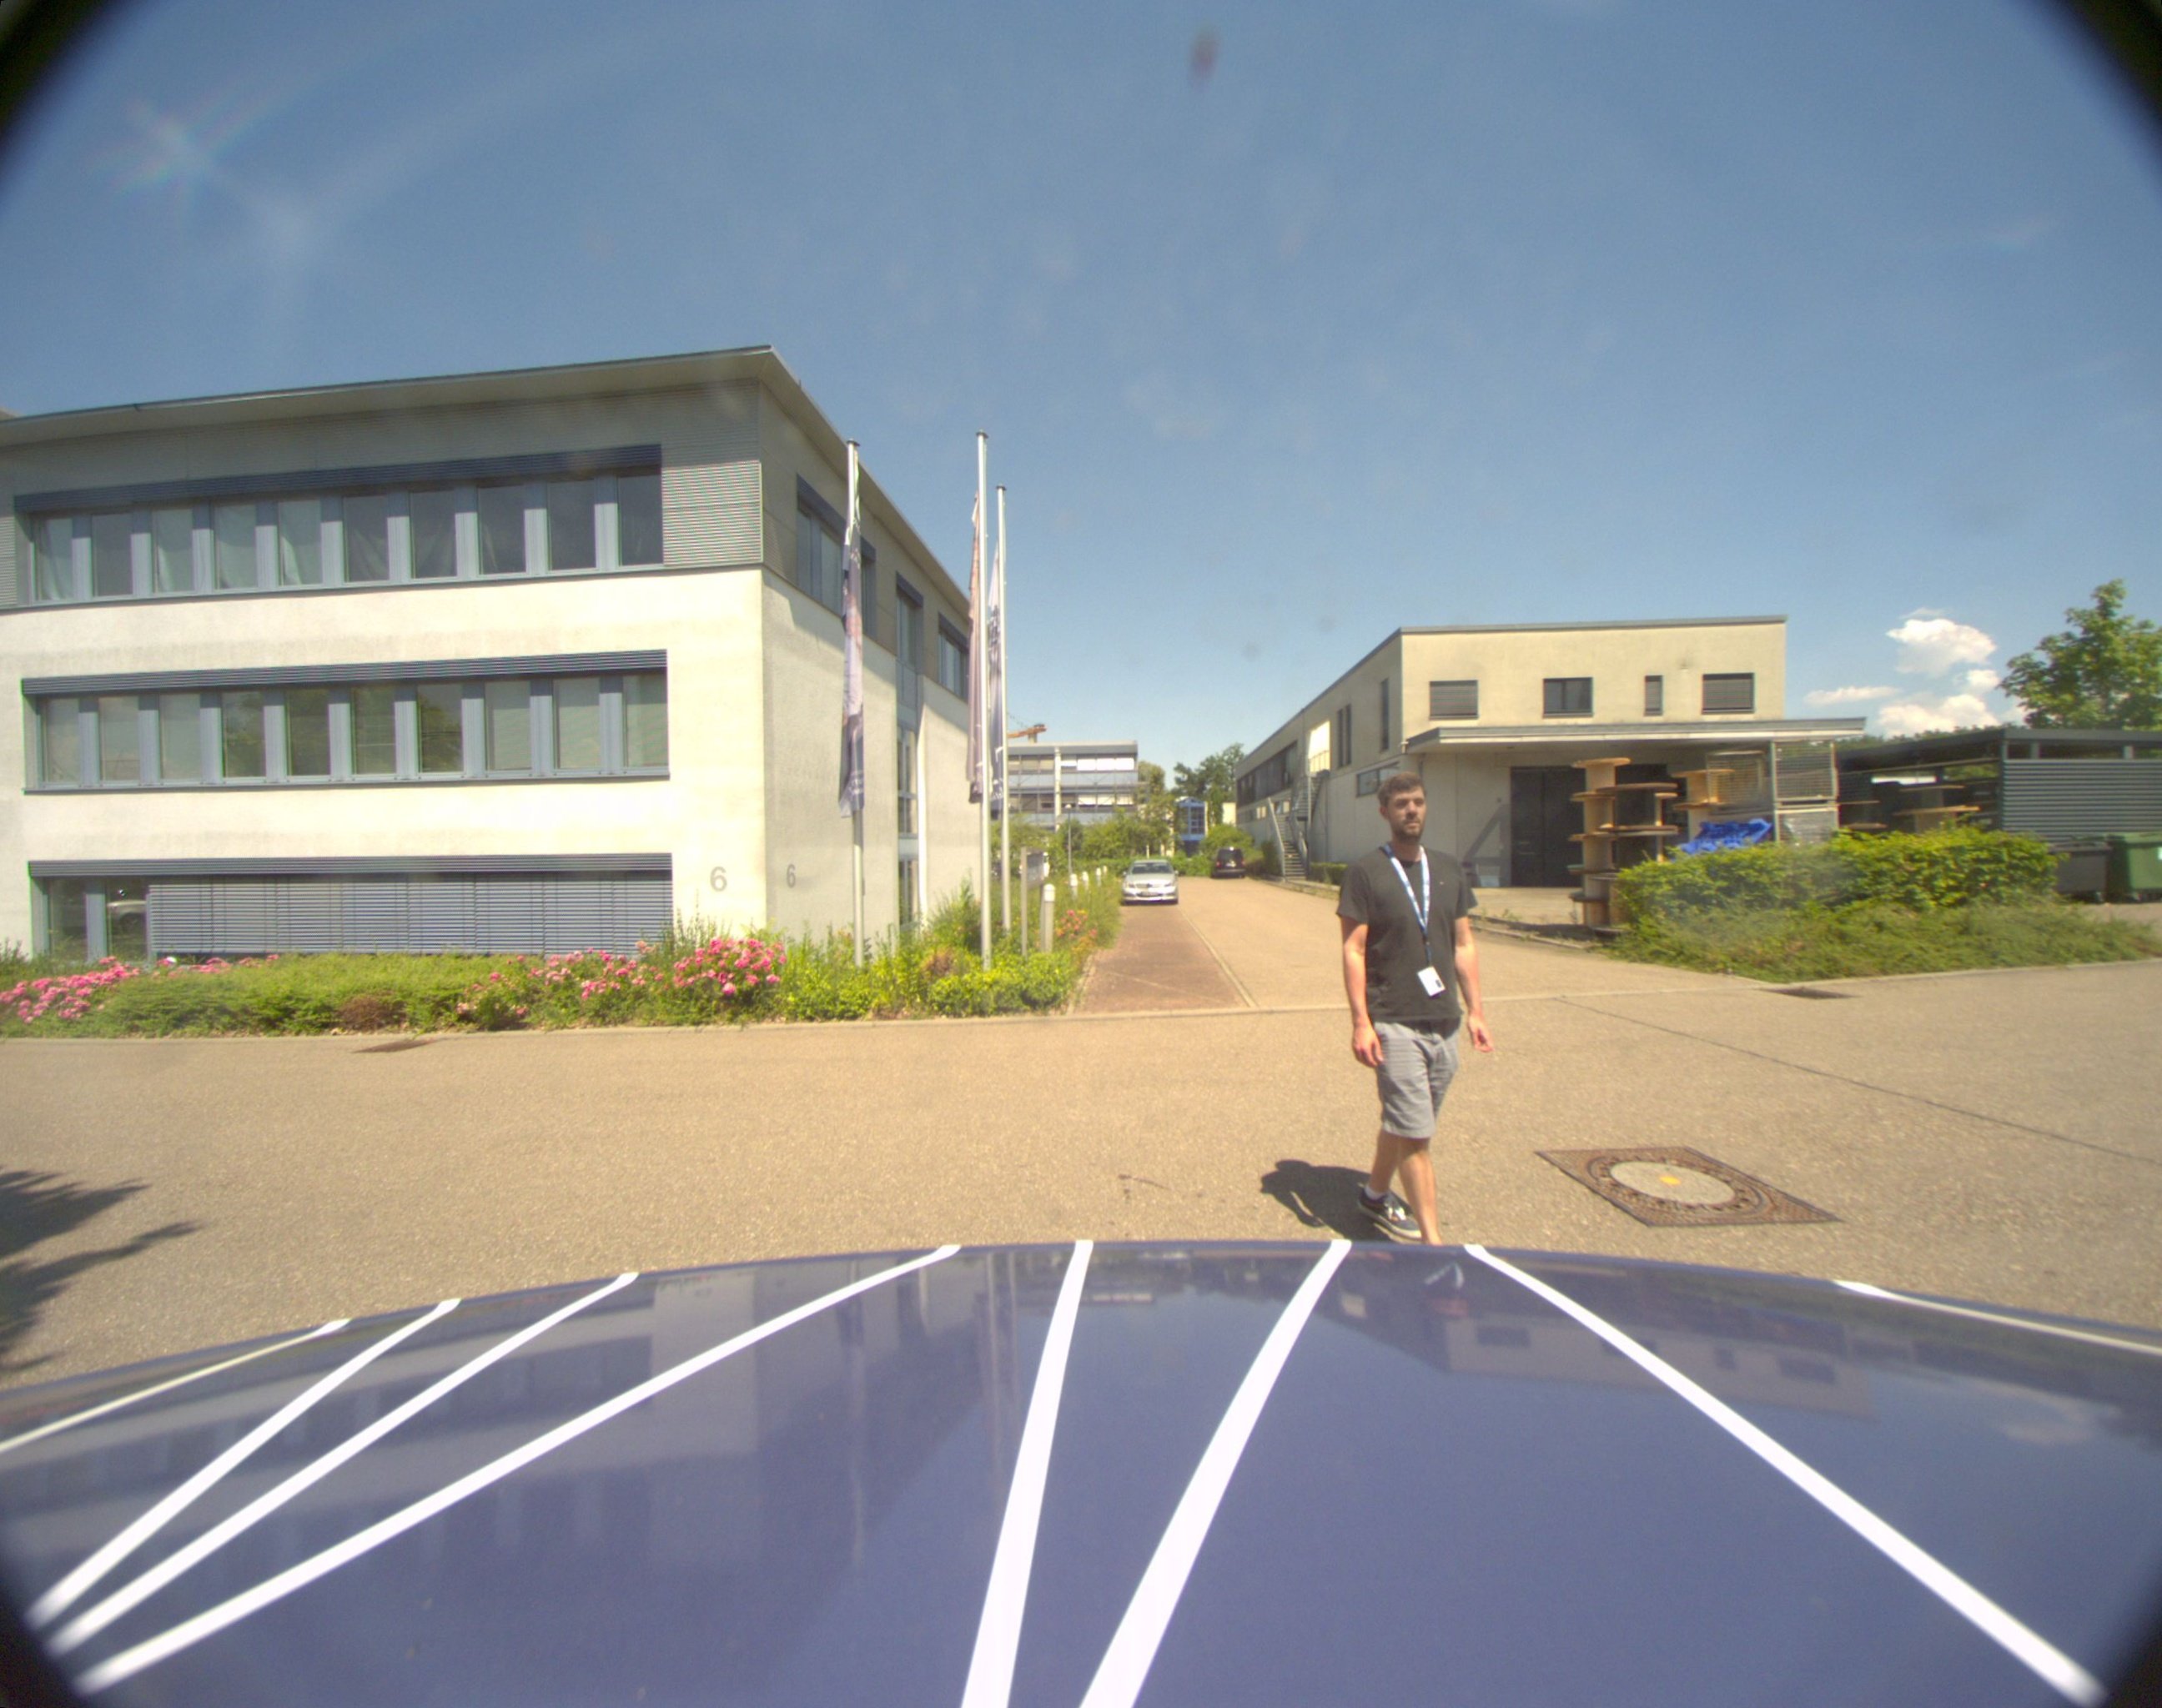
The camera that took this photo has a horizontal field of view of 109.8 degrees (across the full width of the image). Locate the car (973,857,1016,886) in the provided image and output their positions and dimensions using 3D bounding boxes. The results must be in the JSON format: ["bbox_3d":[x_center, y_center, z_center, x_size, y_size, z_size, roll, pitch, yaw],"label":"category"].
[{"bbox_3d":[-5.170,1.024,46.119,1.787,1.537,4.001,-2,1,5],"label":"car"}]

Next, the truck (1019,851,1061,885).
[{"bbox_3d":[-2.384,0.801,45.349,1.998,1.882,4.000,-2,0,3],"label":"truck"}]

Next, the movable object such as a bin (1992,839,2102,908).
[{"bbox_3d":[18.613,0.375,14.672,1.071,1.263,0.760,-2,1,9],"label":"movable object such as a bin"}]

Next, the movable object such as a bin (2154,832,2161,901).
[{"bbox_3d":[21.270,0.222,14.261,1.071,1.329,0.760,-2,1,9],"label":"movable object such as a bin"}]

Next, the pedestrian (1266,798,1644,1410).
[{"bbox_3d":[1.235,0.753,2.732,0.860,1.809,0.904,-2,1,0],"label":"pedestrian"}]

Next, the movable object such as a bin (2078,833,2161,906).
[{"bbox_3d":[19.923,0.280,14.359,1.071,1.329,0.760,-2,1,9],"label":"movable object such as a bin"}]

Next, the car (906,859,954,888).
[{"bbox_3d":[-9.222,1.177,46.595,1.787,1.537,4.001,-2,1,5],"label":"car"}]

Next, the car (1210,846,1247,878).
[{"bbox_3d":[8.790,0.437,45.410,1.786,1.793,4.001,-2,1,6],"label":"car"}]

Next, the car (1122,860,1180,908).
[{"bbox_3d":[2.394,0.943,25.289,1.710,1.383,3.813,-1,0,8],"label":"car"}]
